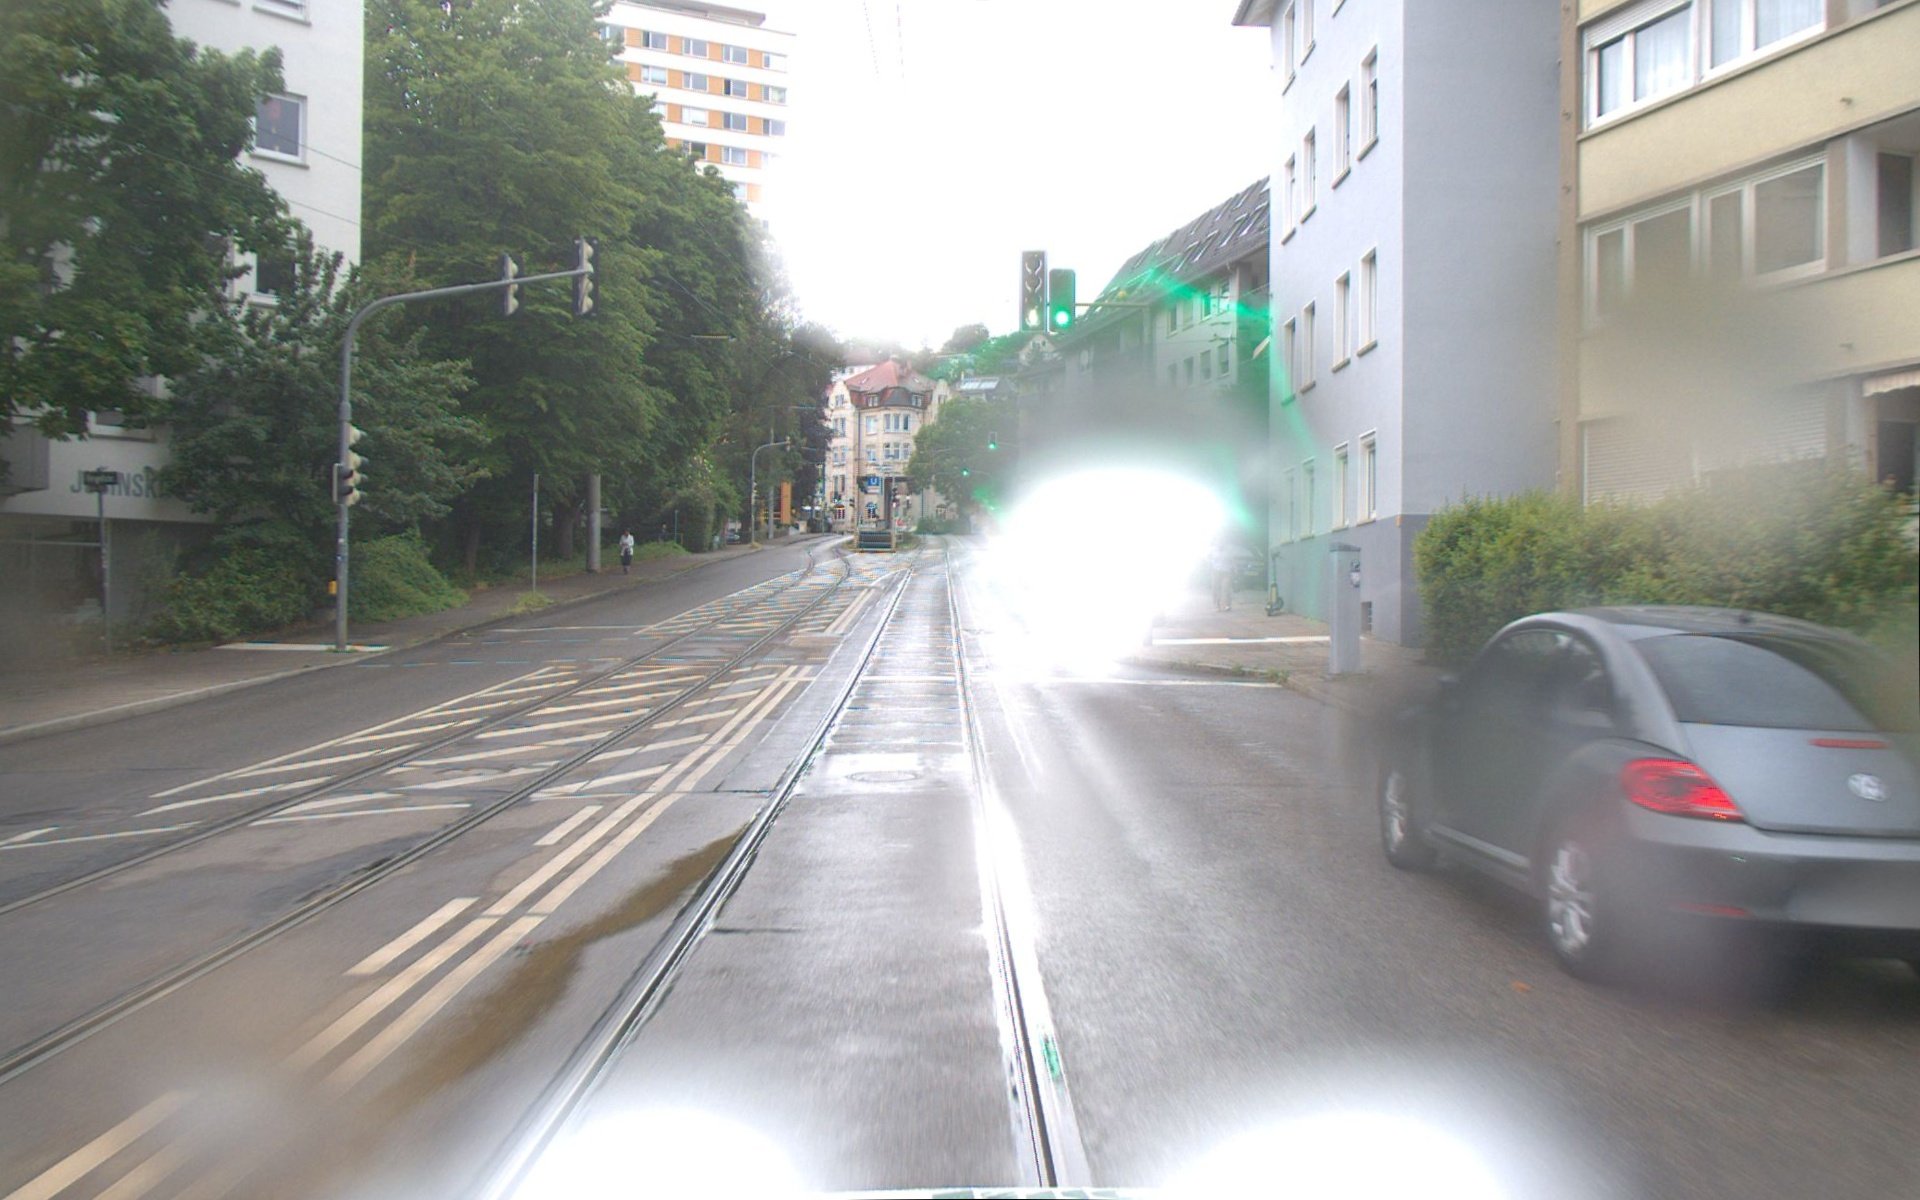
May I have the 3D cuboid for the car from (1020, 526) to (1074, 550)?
[{"bbox_3d":[6.597,-4.699,125.827,3.906,1.674,1.807,2,0,-2],"label":"car"}]

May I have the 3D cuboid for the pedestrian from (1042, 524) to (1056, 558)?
[{"bbox_3d":[4.479,-2.950,82.898,0.630,1.657,0.700,1,1,7],"label":"pedestrian"}]

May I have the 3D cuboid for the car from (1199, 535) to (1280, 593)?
[{"bbox_3d":[8.643,-1.088,51.399,1.685,1.541,4.202,1,-2,-1],"label":"car"}]

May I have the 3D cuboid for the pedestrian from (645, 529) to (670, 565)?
[{"bbox_3d":[-14.843,-2.614,81.251,0.897,1.707,0.740,1,-2,27],"label":"pedestrian"}]

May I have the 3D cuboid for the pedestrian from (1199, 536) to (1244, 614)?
[{"bbox_3d":[5.598,-0.542,35.466,0.864,1.610,0.802,-1,3,1],"label":"pedestrian"}]

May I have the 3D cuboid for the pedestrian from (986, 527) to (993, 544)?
[{"bbox_3d":[2.717,-5.935,152.177,0.567,1.492,0.543,2,-2,-9],"label":"pedestrian"}]

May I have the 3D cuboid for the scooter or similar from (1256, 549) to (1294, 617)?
[{"bbox_3d":[6.364,-0.360,33.484,0.562,1.270,1.612,-1,4,5],"label":"scooter or similar"}]

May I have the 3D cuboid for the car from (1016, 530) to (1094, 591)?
[{"bbox_3d":[2.751,-1.196,48.951,1.868,1.670,4.689,2,2,-2],"label":"car"}]

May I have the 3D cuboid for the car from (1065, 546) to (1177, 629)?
[{"bbox_3d":[3.122,-0.301,32.871,1.670,1.458,4.101,2,2,-2],"label":"car"}]

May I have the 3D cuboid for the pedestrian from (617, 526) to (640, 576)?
[{"bbox_3d":[-11.198,-1.650,55.876,0.571,1.628,0.868,3,1,-5],"label":"pedestrian"}]

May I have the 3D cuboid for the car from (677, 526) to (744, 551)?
[{"bbox_3d":[-15.765,-3.886,104.502,3.905,1.430,1.682,1,-2,22],"label":"car"}]

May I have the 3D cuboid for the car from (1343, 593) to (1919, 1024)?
[{"bbox_3d":[3.372,0.753,7.925,1.901,1.489,4.204,2,0,-3],"label":"car"}]

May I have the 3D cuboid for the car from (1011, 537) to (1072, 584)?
[{"bbox_3d":[2.665,-1.335,55.035,1.670,1.452,4.250,2,2,-2],"label":"car"}]

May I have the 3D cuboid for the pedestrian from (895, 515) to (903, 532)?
[{"bbox_3d":[-5.467,-6.890,149.111,0.644,1.492,0.772,0,-2,2],"label":"pedestrian"}]
